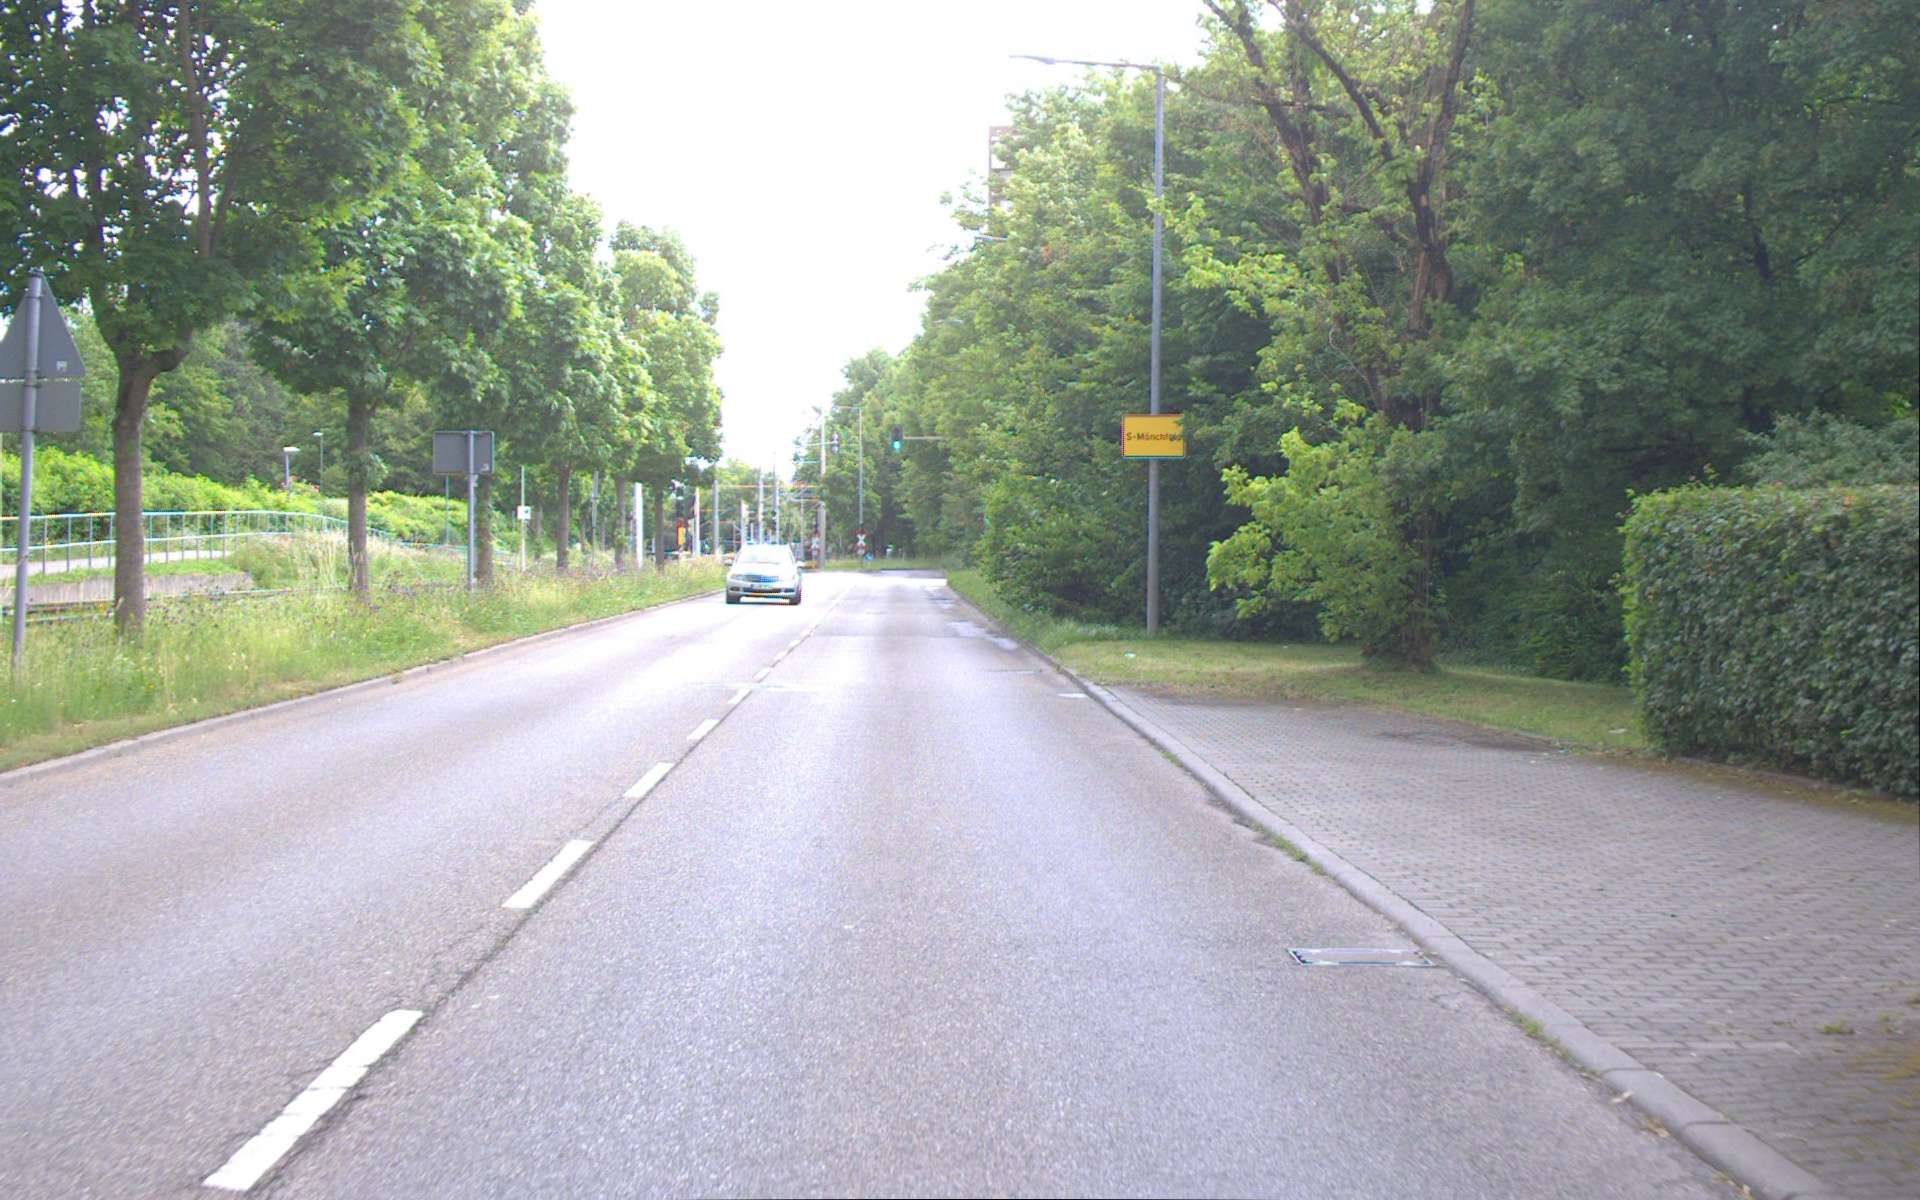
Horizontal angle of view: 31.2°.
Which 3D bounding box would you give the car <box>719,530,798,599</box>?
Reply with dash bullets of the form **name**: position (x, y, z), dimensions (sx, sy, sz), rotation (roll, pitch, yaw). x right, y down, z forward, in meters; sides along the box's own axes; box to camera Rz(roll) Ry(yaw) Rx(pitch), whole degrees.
- **car**: position (-4.949, -0.907, 84.840), dimensions (1.716, 1.624, 4.000), rotation (1, 1, -1)
